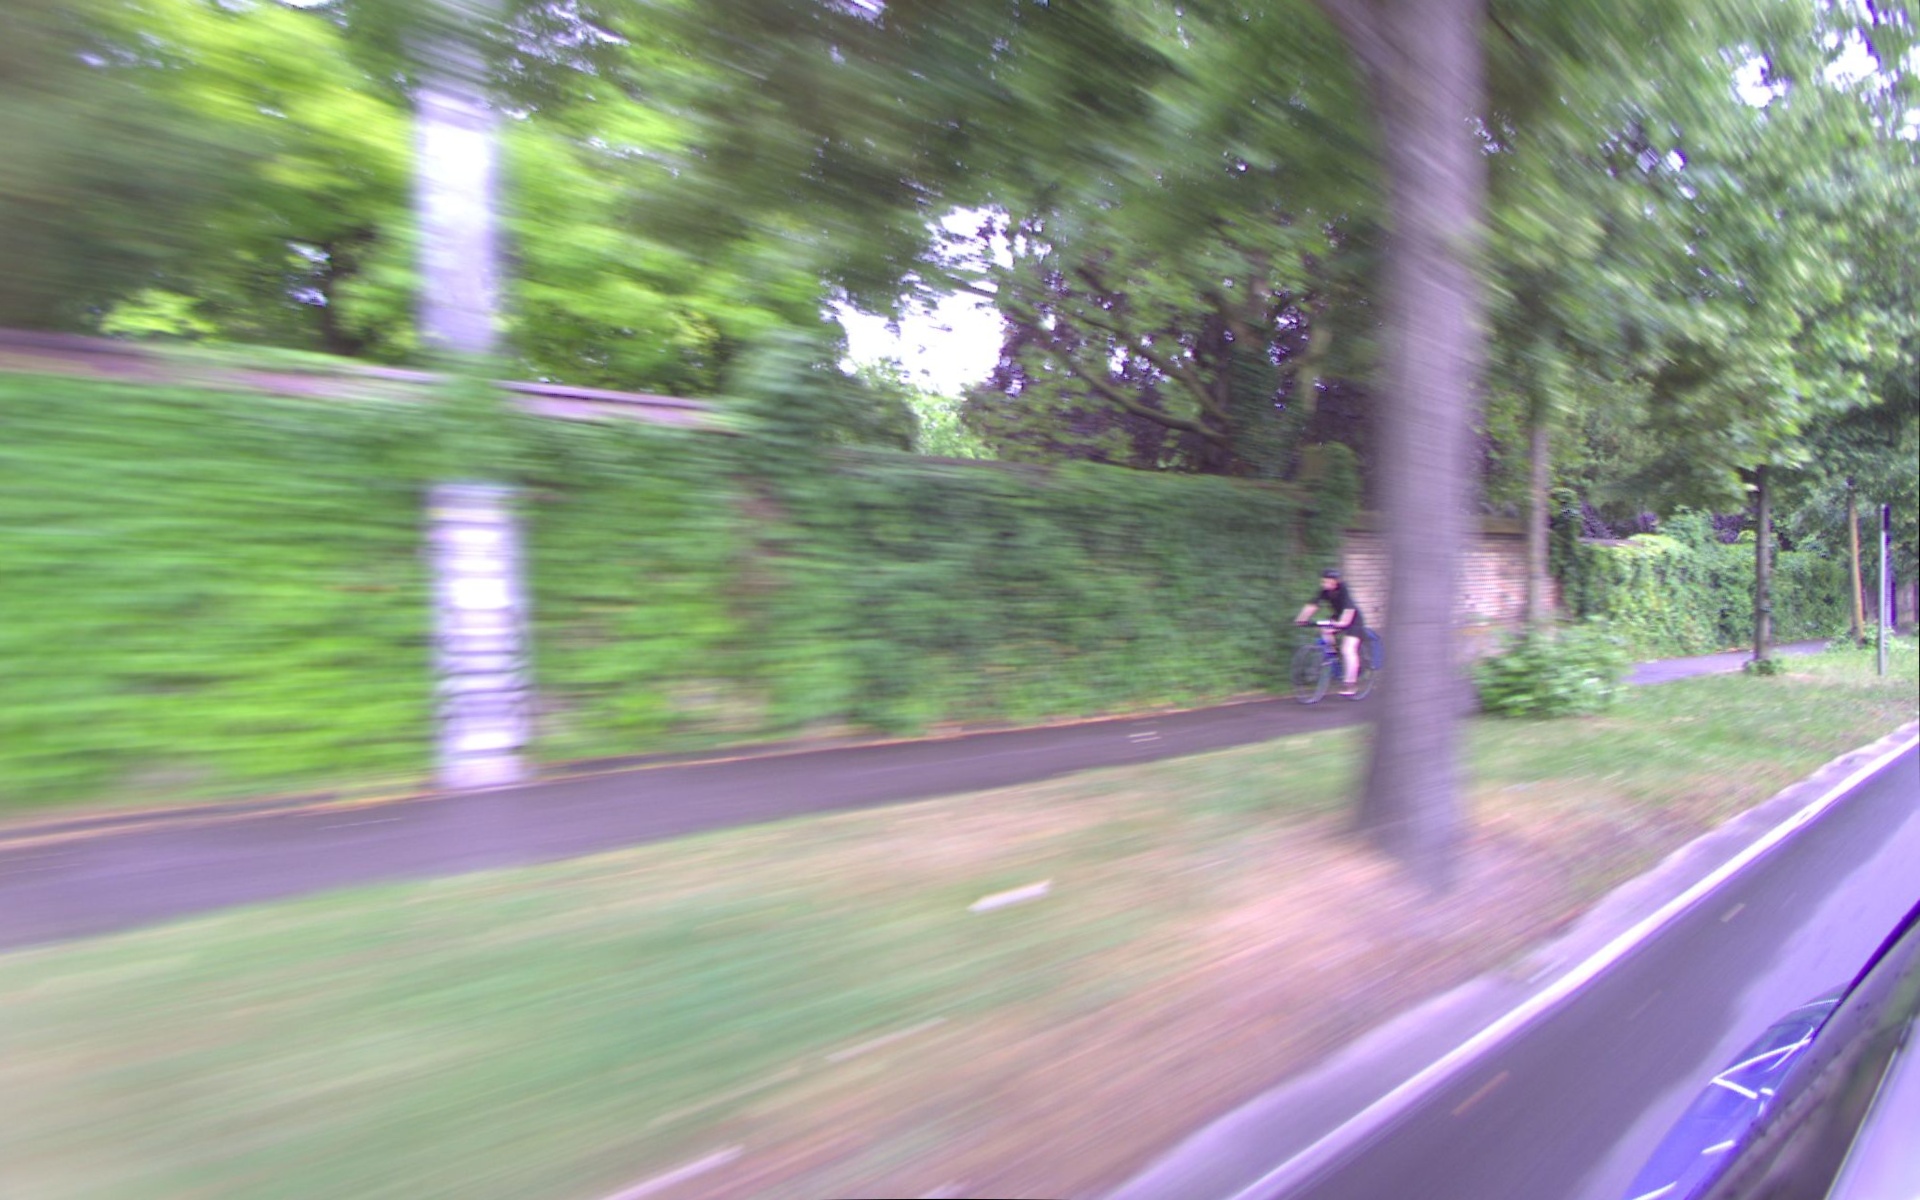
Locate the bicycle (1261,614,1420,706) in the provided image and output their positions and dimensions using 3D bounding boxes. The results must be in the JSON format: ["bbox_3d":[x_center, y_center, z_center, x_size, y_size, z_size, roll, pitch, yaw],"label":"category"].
[{"bbox_3d":[4.637,0.681,12.222,2.502,0.960,0.544,0,2,-37],"label":"bicycle"}]

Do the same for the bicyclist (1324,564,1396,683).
[{"bbox_3d":[4.901,0.266,12.394,0.654,1.407,0.536,0,1,-37],"label":"bicyclist"}]
